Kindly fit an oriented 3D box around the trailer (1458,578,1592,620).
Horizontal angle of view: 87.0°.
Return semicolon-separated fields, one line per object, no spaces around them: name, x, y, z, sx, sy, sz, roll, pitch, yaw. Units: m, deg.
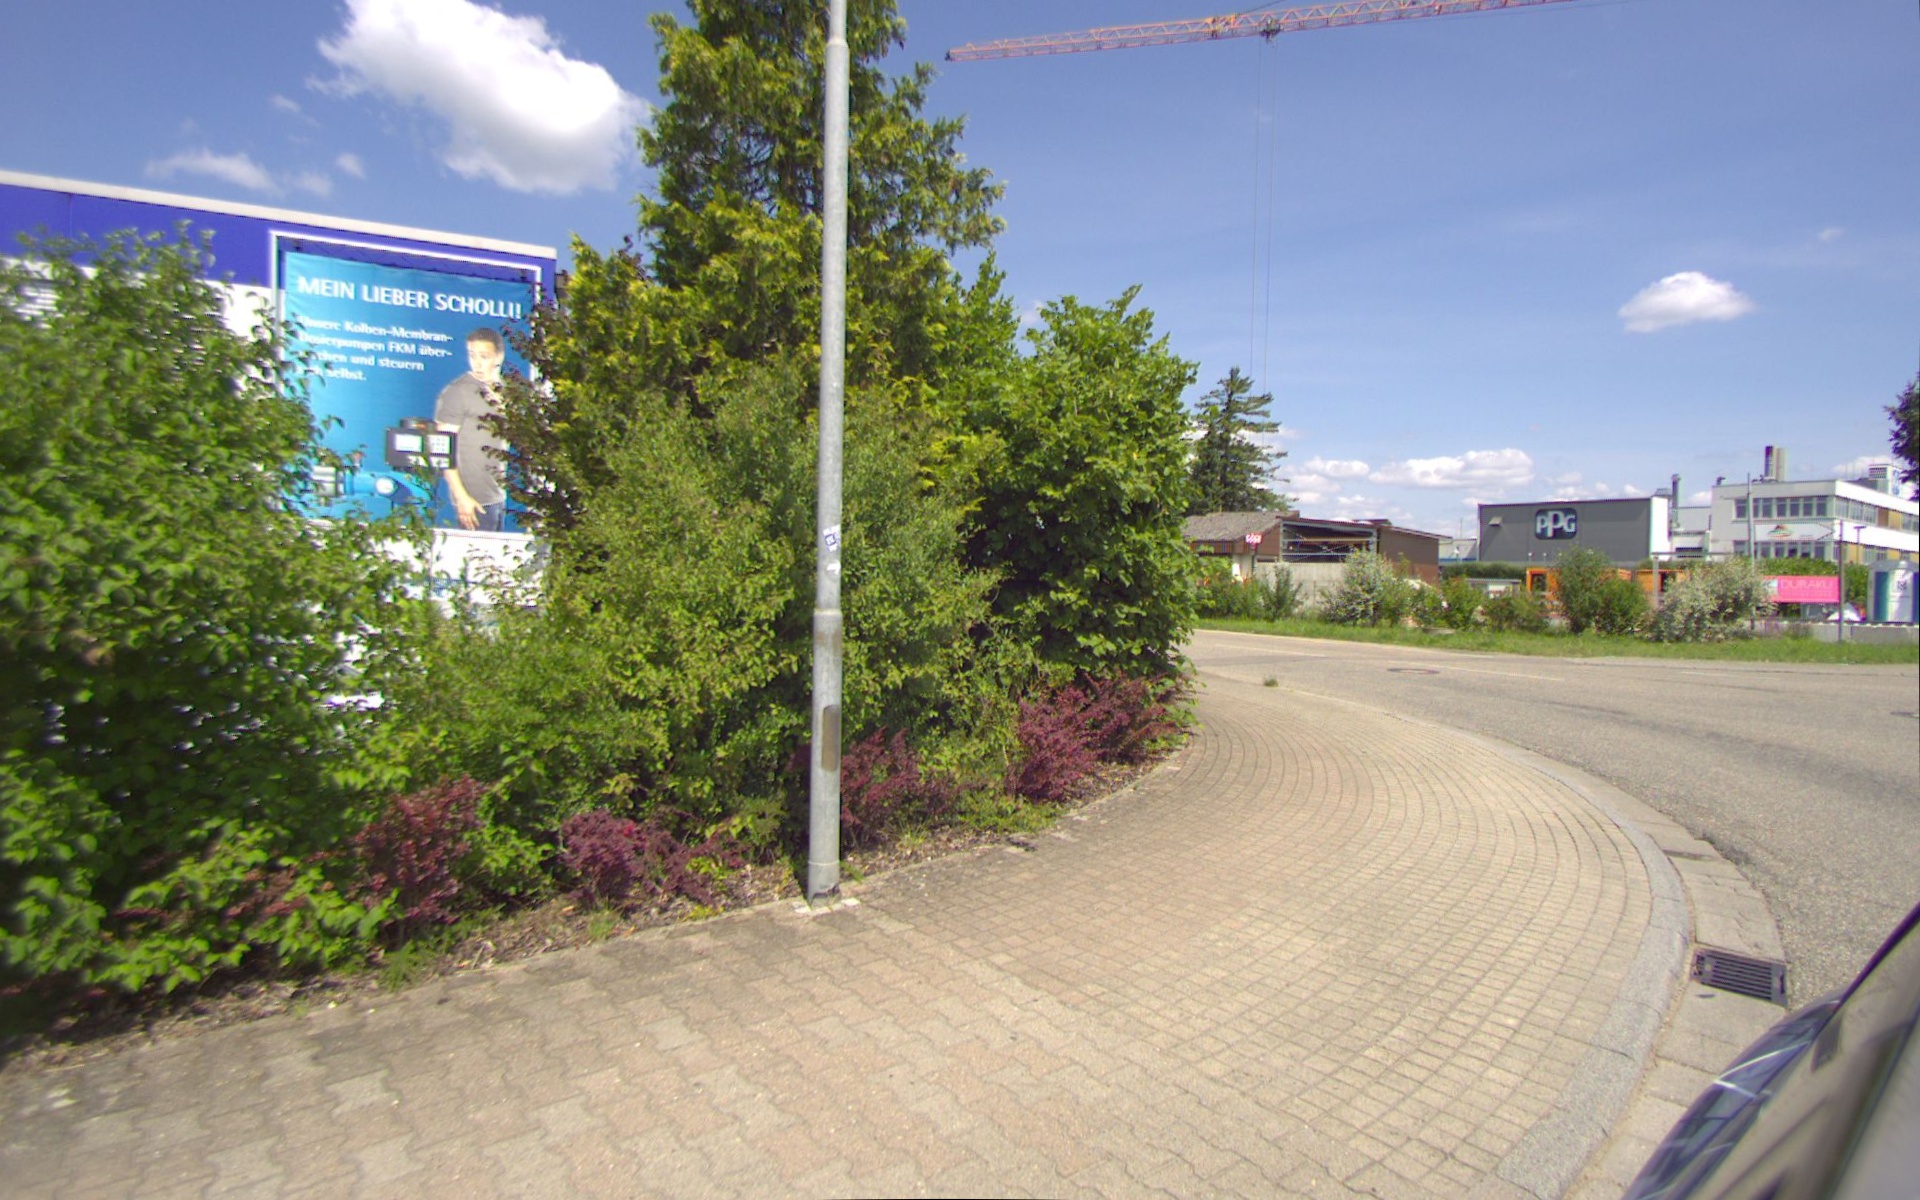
trailer;27.020;-0.106;48.513;5.373;1.800;1.797;2;4;39
